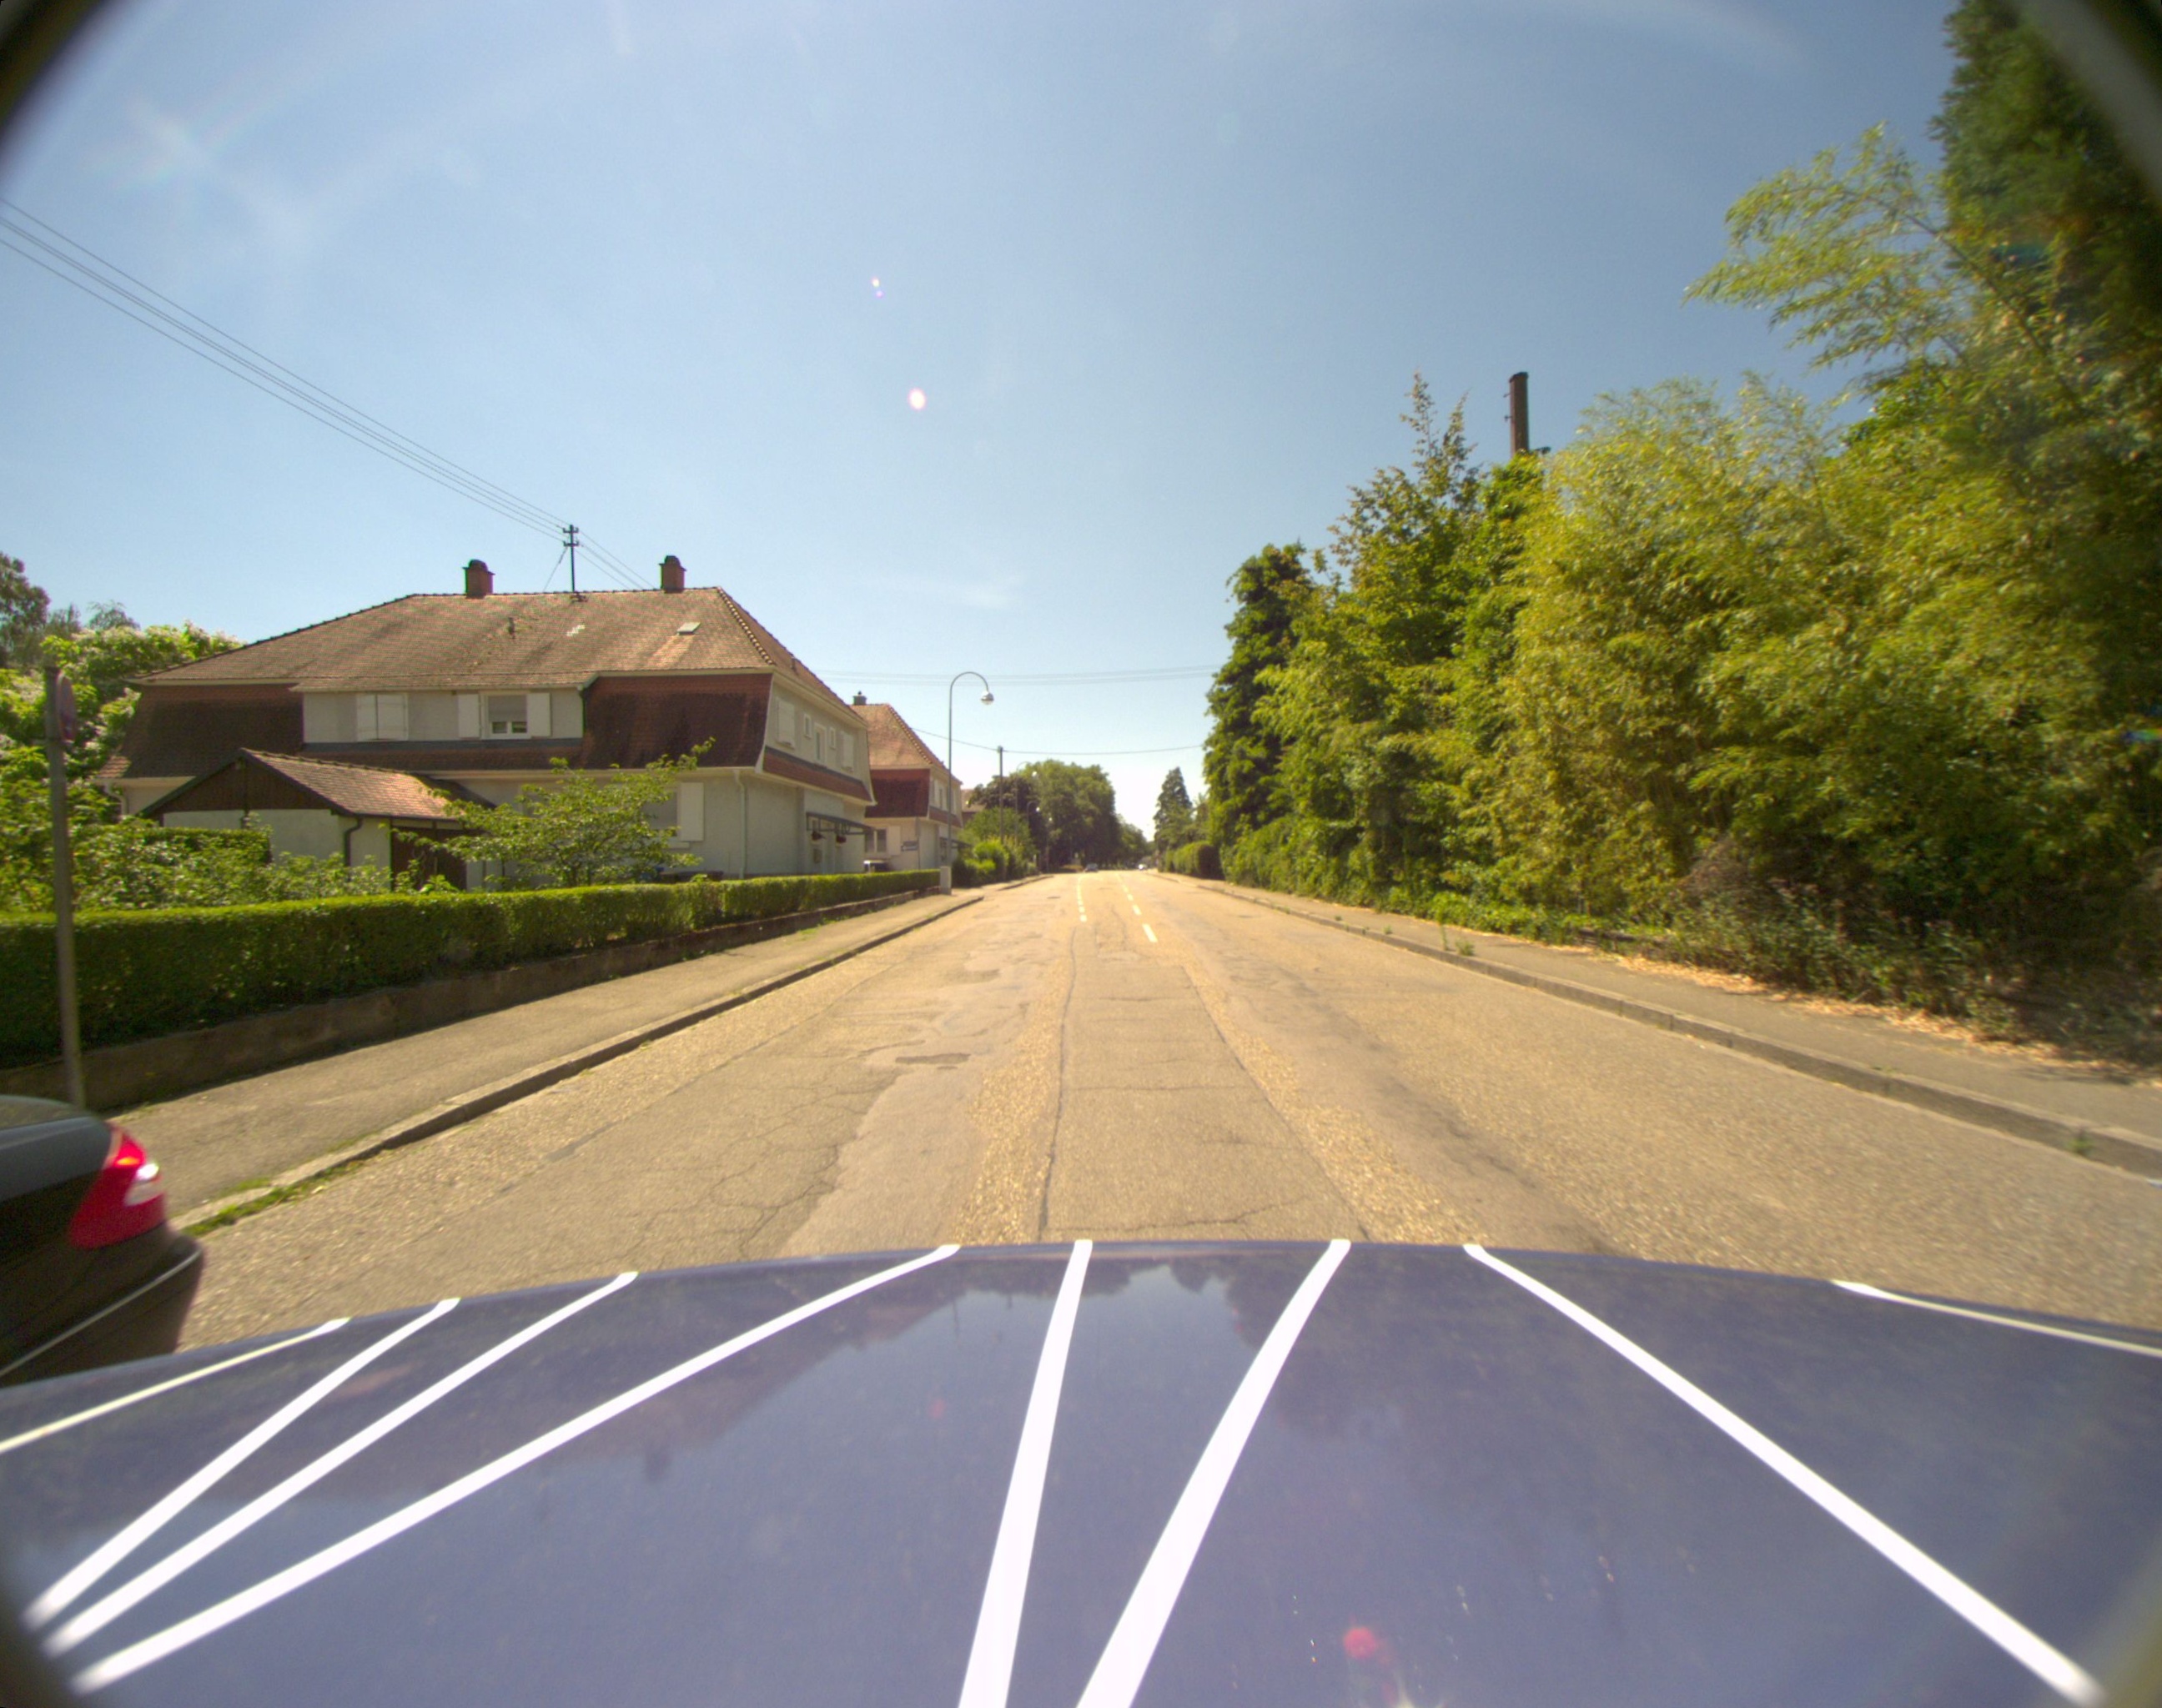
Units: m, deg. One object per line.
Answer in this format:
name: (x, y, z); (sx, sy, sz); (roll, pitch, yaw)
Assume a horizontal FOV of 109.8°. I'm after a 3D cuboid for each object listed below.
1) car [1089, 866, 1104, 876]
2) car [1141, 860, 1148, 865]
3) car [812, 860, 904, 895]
car: (2.529, 2.717, 122.470); (1.882, 1.623, 4.324); (0, 0, 10)
car: (15.520, 2.044, 185.621); (1.684, 1.364, 4.207); (0, -1, 3)
car: (-11.105, 1.168, 38.010); (4.006, 1.527, 1.693); (-2, 1, -1)
